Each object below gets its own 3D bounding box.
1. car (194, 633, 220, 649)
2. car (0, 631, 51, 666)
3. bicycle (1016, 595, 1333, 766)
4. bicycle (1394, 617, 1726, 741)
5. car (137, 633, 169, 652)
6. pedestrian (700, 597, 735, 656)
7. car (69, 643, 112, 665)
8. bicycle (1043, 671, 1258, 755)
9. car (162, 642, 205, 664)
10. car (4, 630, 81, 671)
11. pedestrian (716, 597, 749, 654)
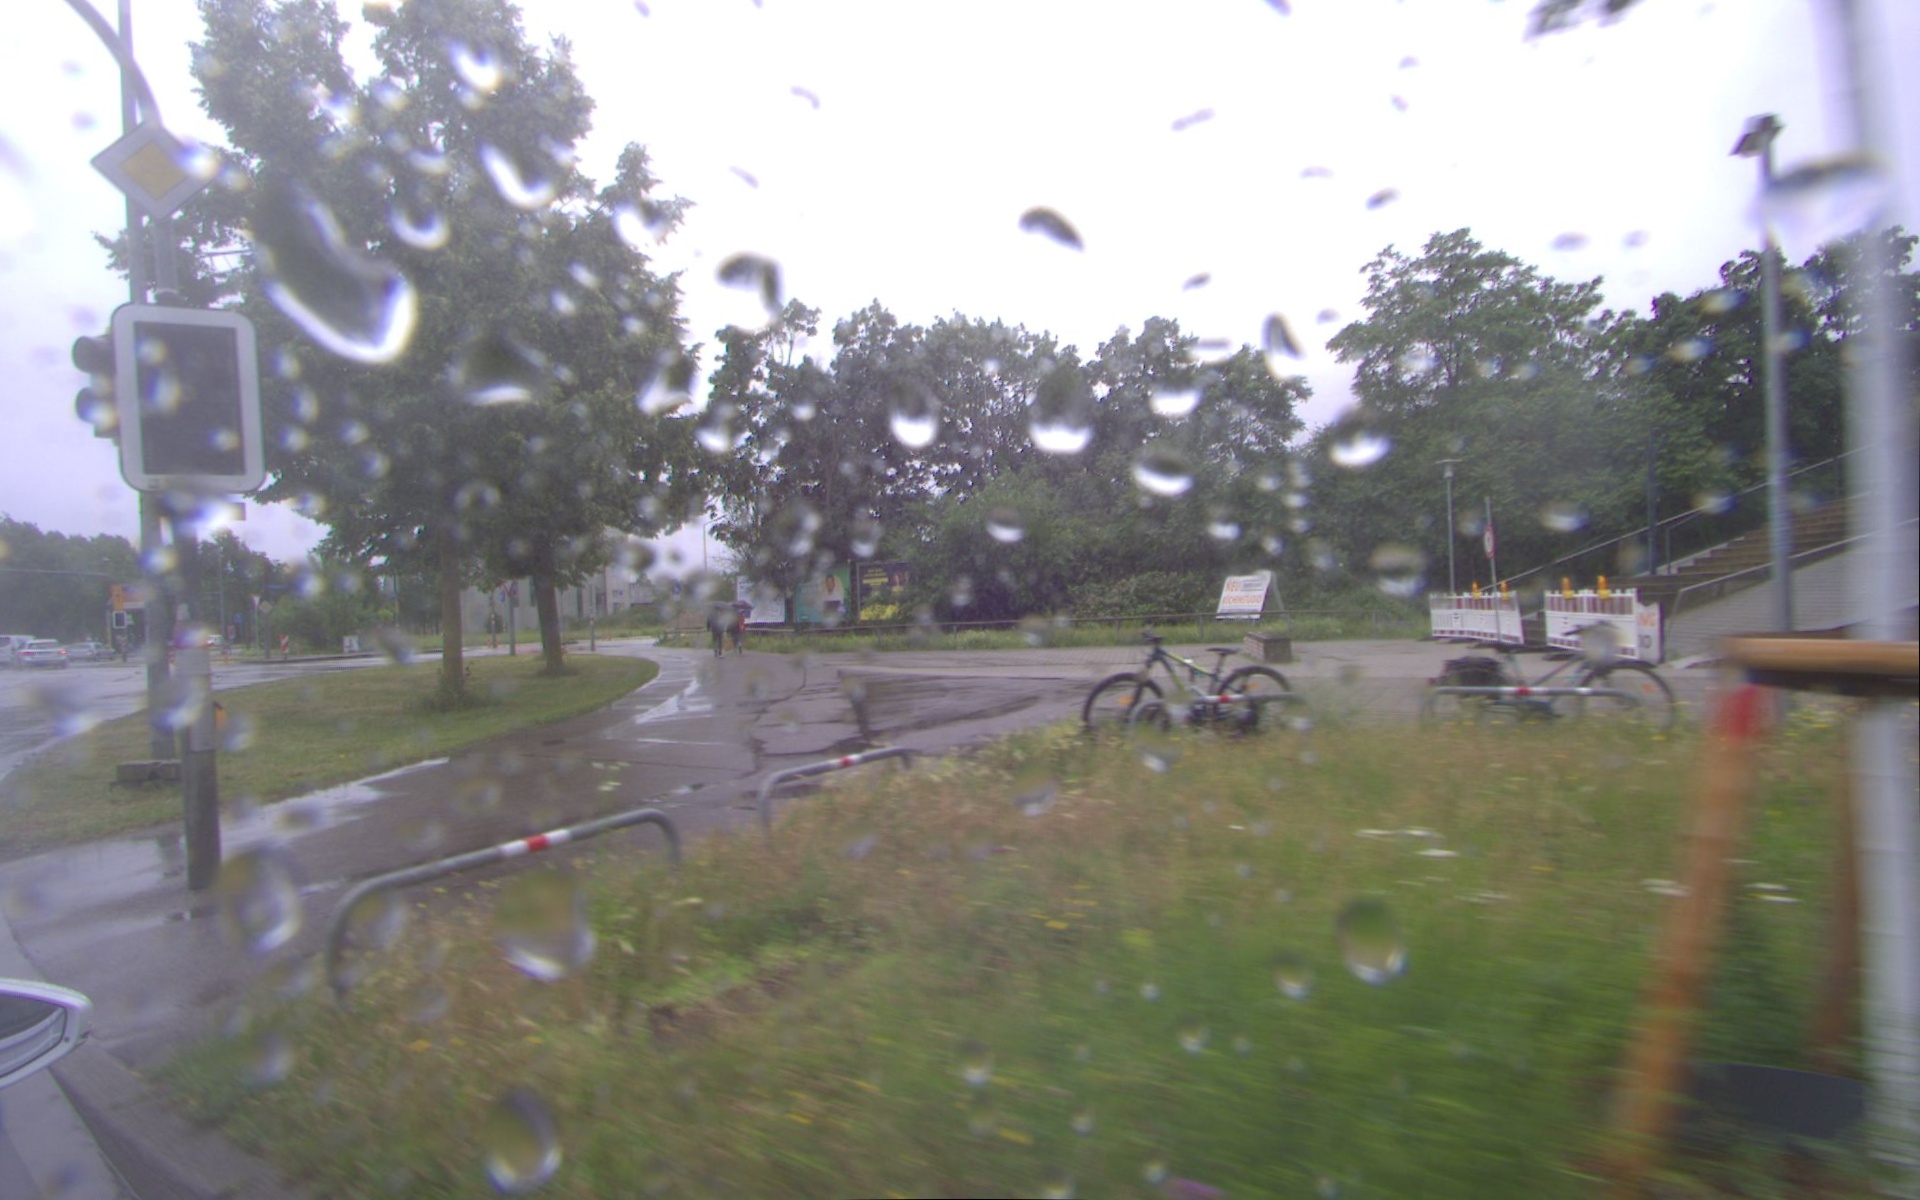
[{"bbox_3d":[-97.407,5.269,129.568,1.764,2.039,3.666,0,-2,-21],"label":"car"},{"bbox_3d":[-57.685,2.952,61.150,1.758,2.061,3.993,0,-2,-19],"label":"car"},{"bbox_3d":[1.715,0.592,7.932,2.480,1.205,0.552,-1,0,-17],"label":"bicycle"},{"bbox_3d":[4.572,0.582,7.801,2.131,0.858,0.633,-2,0,30],"label":"bicycle"},{"bbox_3d":[-93.215,4.915,115.718,1.764,2.039,3.666,0,-2,-21],"label":"car"},{"bbox_3d":[-7.512,0.834,31.091,0.906,1.807,0.808,-1,-2,-3],"label":"pedestrian"},{"bbox_3d":[-65.948,4.079,75.977,1.668,1.511,3.238,-1,0,-27],"label":"car"},{"bbox_3d":[1.562,0.905,8.160,1.771,0.566,0.320,-1,0,-17],"label":"bicycle"},{"bbox_3d":[-60.029,4.051,77.475,1.665,1.511,3.243,-1,0,-20],"label":"car"},{"bbox_3d":[-45.131,2.473,49.226,4.774,1.834,1.777,-2,0,36],"label":"car"},{"bbox_3d":[-7.320,0.827,32.214,0.906,1.807,0.808,-1,-2,-3],"label":"pedestrian"}]
